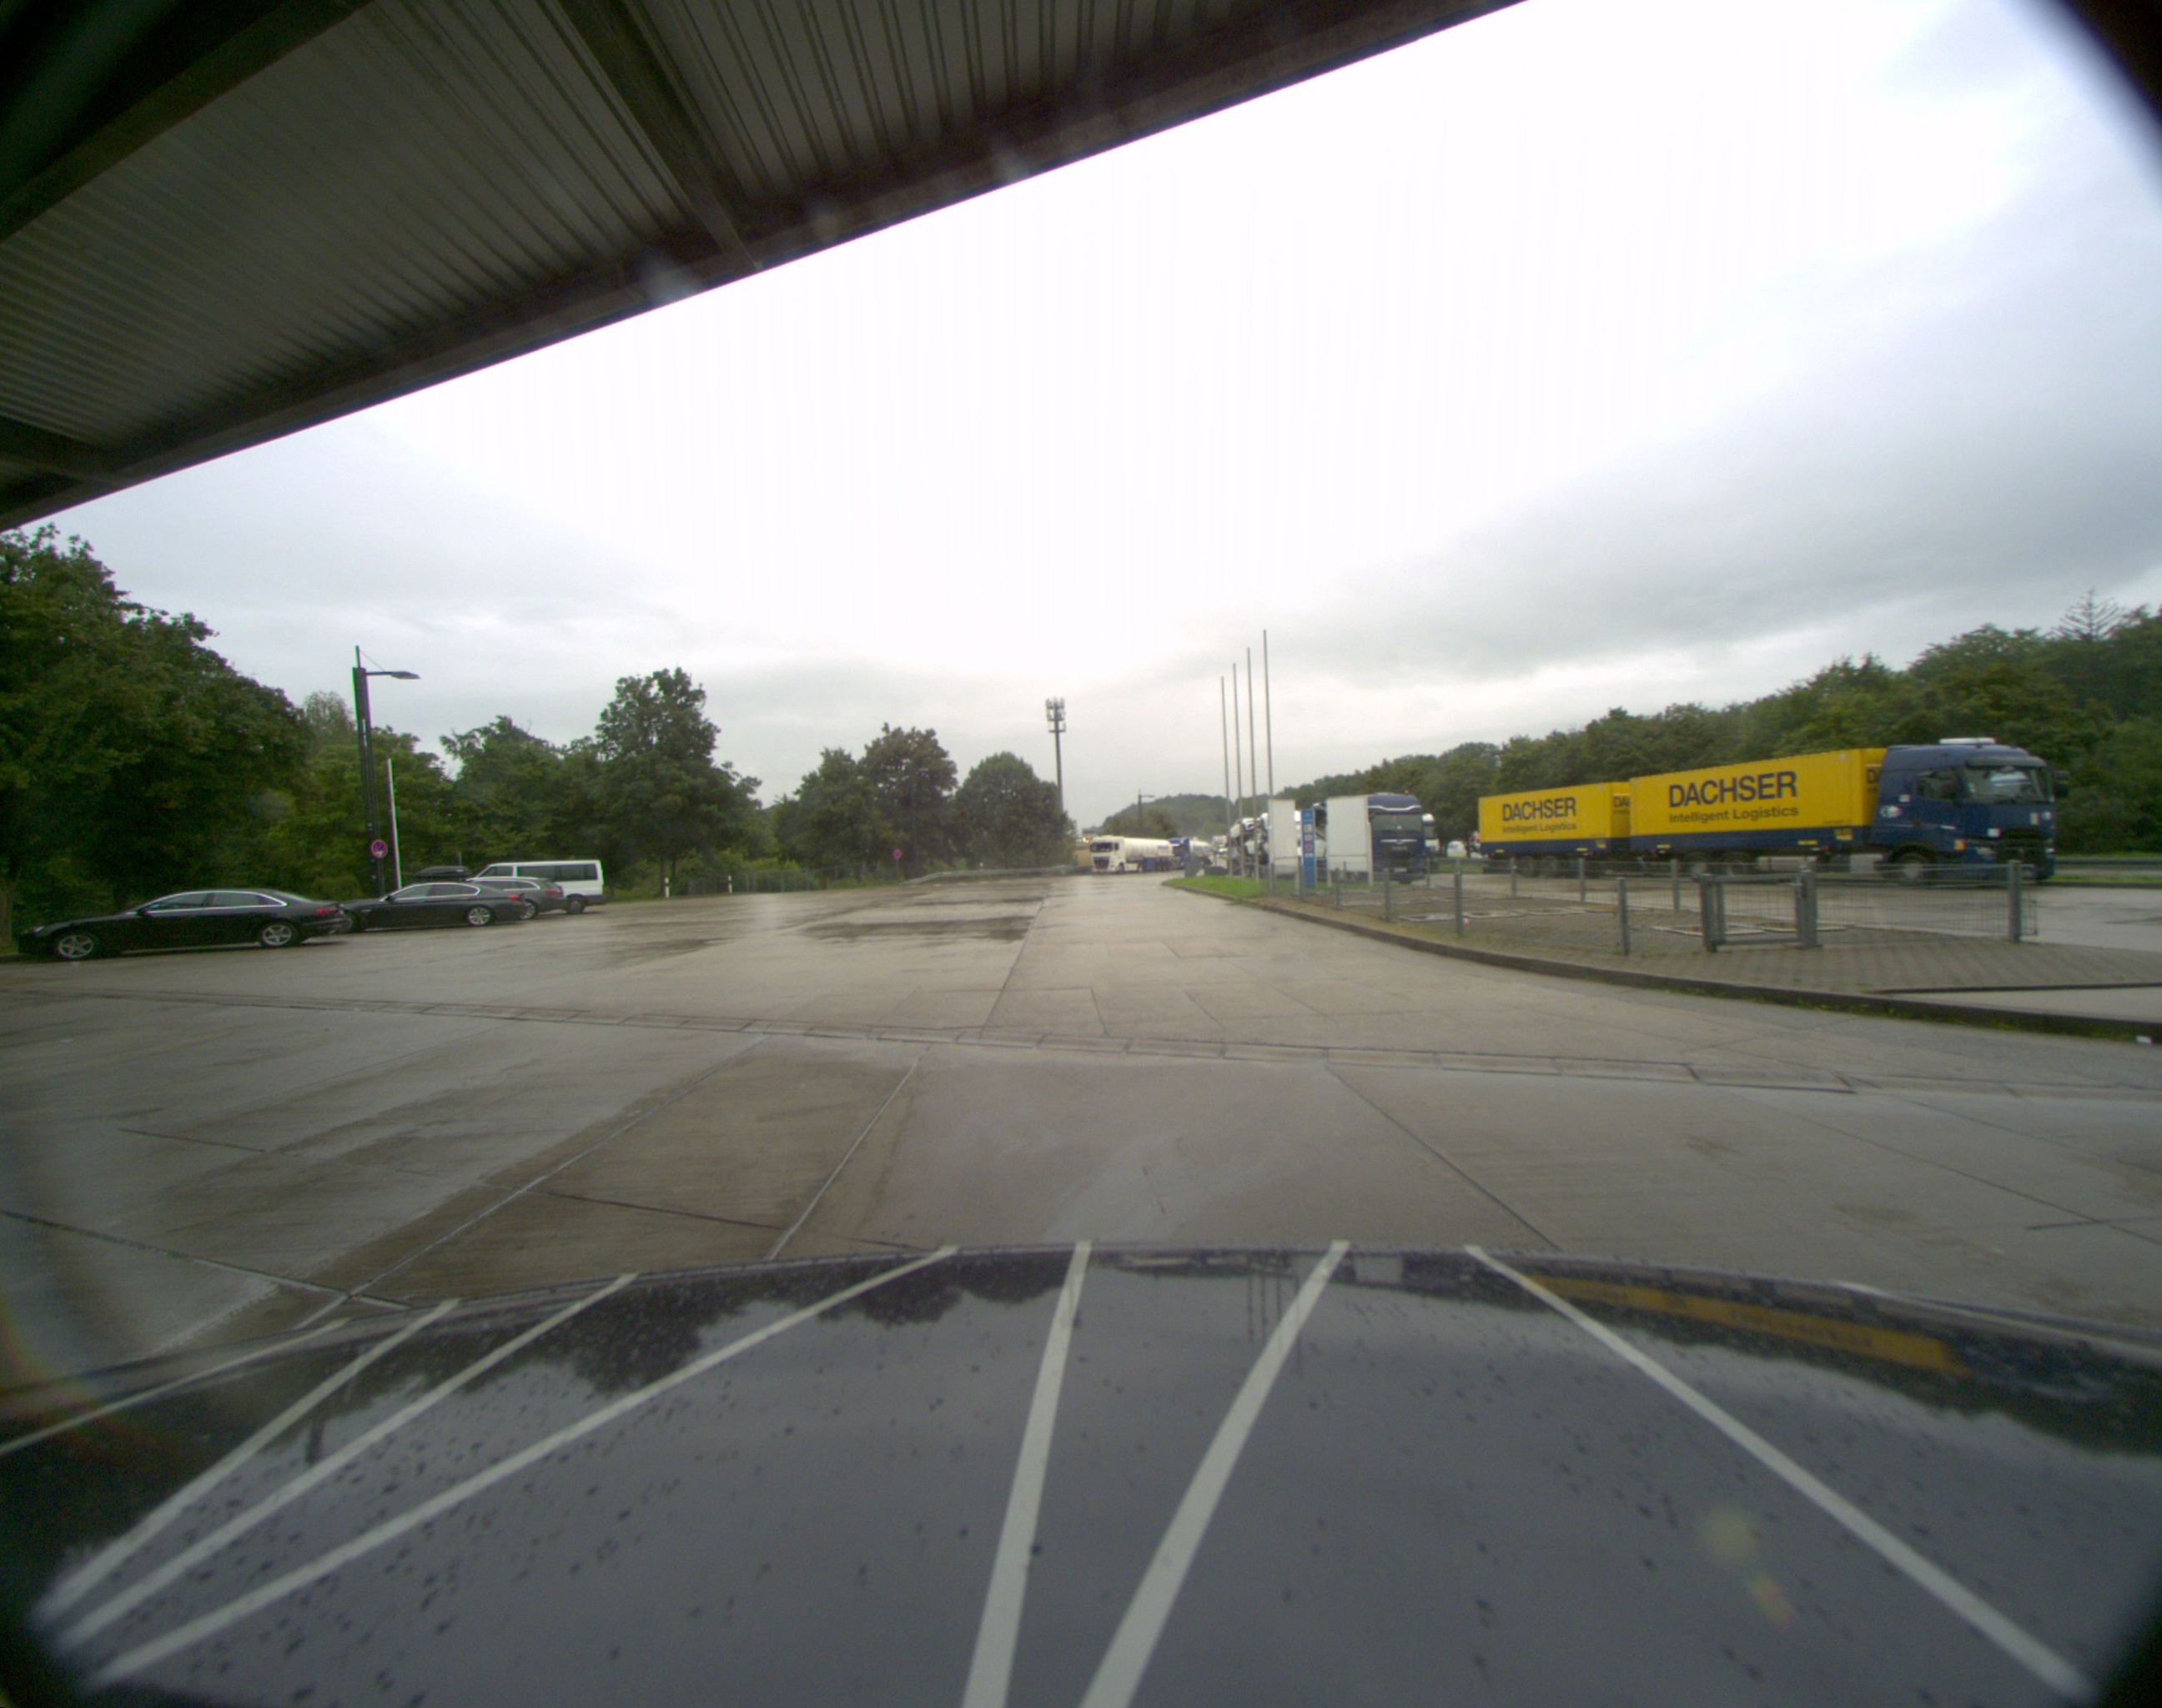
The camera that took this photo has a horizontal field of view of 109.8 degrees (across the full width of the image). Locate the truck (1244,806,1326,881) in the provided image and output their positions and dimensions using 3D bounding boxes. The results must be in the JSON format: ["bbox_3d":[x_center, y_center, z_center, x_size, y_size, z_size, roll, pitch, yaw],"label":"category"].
[{"bbox_3d":[11.049,-0.555,41.595,2.665,3.750,4.747,-2,1,-6],"label":"truck"}]

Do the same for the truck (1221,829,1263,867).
[{"bbox_3d":[19.296,-0.754,91.724,3.143,4.105,11.523,-2,1,3],"label":"truck"}]

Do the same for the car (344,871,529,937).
[{"bbox_3d":[-18.872,1.396,22.512,4.007,1.650,1.596,-2,0,-35],"label":"car"}]

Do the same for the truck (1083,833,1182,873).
[{"bbox_3d":[5.454,-0.158,75.215,3.505,3.584,14.426,-2,0,31],"label":"truck"}]

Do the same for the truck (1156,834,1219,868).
[{"bbox_3d":[12.781,-0.400,89.696,3.506,3.584,14.685,-2,0,23],"label":"truck"}]

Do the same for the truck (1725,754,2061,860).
[{"bbox_3d":[33.914,-1.756,32.721,2.421,3.785,10.223,-2,1,-10],"label":"truck"}]

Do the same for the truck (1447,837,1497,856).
[{"bbox_3d":[46.123,-0.830,89.710,2.082,2.112,5.827,-2,1,-10],"label":"truck"}]

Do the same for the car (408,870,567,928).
[{"bbox_3d":[-19.468,1.429,25.164,4.007,1.650,1.596,-2,0,-35],"label":"car"}]

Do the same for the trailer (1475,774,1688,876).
[{"bbox_3d":[21.795,-1.181,33.955,2.757,3.894,8.700,-2,1,-9],"label":"trailer"}]

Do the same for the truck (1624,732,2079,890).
[{"bbox_3d":[23.157,-1.124,24.334,2.757,3.894,10.678,-2,1,-8],"label":"truck"}]

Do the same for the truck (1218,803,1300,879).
[{"bbox_3d":[10.573,-0.724,45.785,2.665,4.157,6.618,-2,1,-6],"label":"truck"}]

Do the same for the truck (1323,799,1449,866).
[{"bbox_3d":[19.885,-1.296,50.576,2.757,3.894,10.678,-2,1,-8],"label":"truck"}]

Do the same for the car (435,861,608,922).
[{"bbox_3d":[-20.424,1.290,28.000,4.898,1.938,2.310,-2,0,-35],"label":"car"}]

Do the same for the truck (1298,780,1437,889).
[{"bbox_3d":[12.187,-0.793,33.187,2.665,4.157,7.103,-2,0,-6],"label":"truck"}]
